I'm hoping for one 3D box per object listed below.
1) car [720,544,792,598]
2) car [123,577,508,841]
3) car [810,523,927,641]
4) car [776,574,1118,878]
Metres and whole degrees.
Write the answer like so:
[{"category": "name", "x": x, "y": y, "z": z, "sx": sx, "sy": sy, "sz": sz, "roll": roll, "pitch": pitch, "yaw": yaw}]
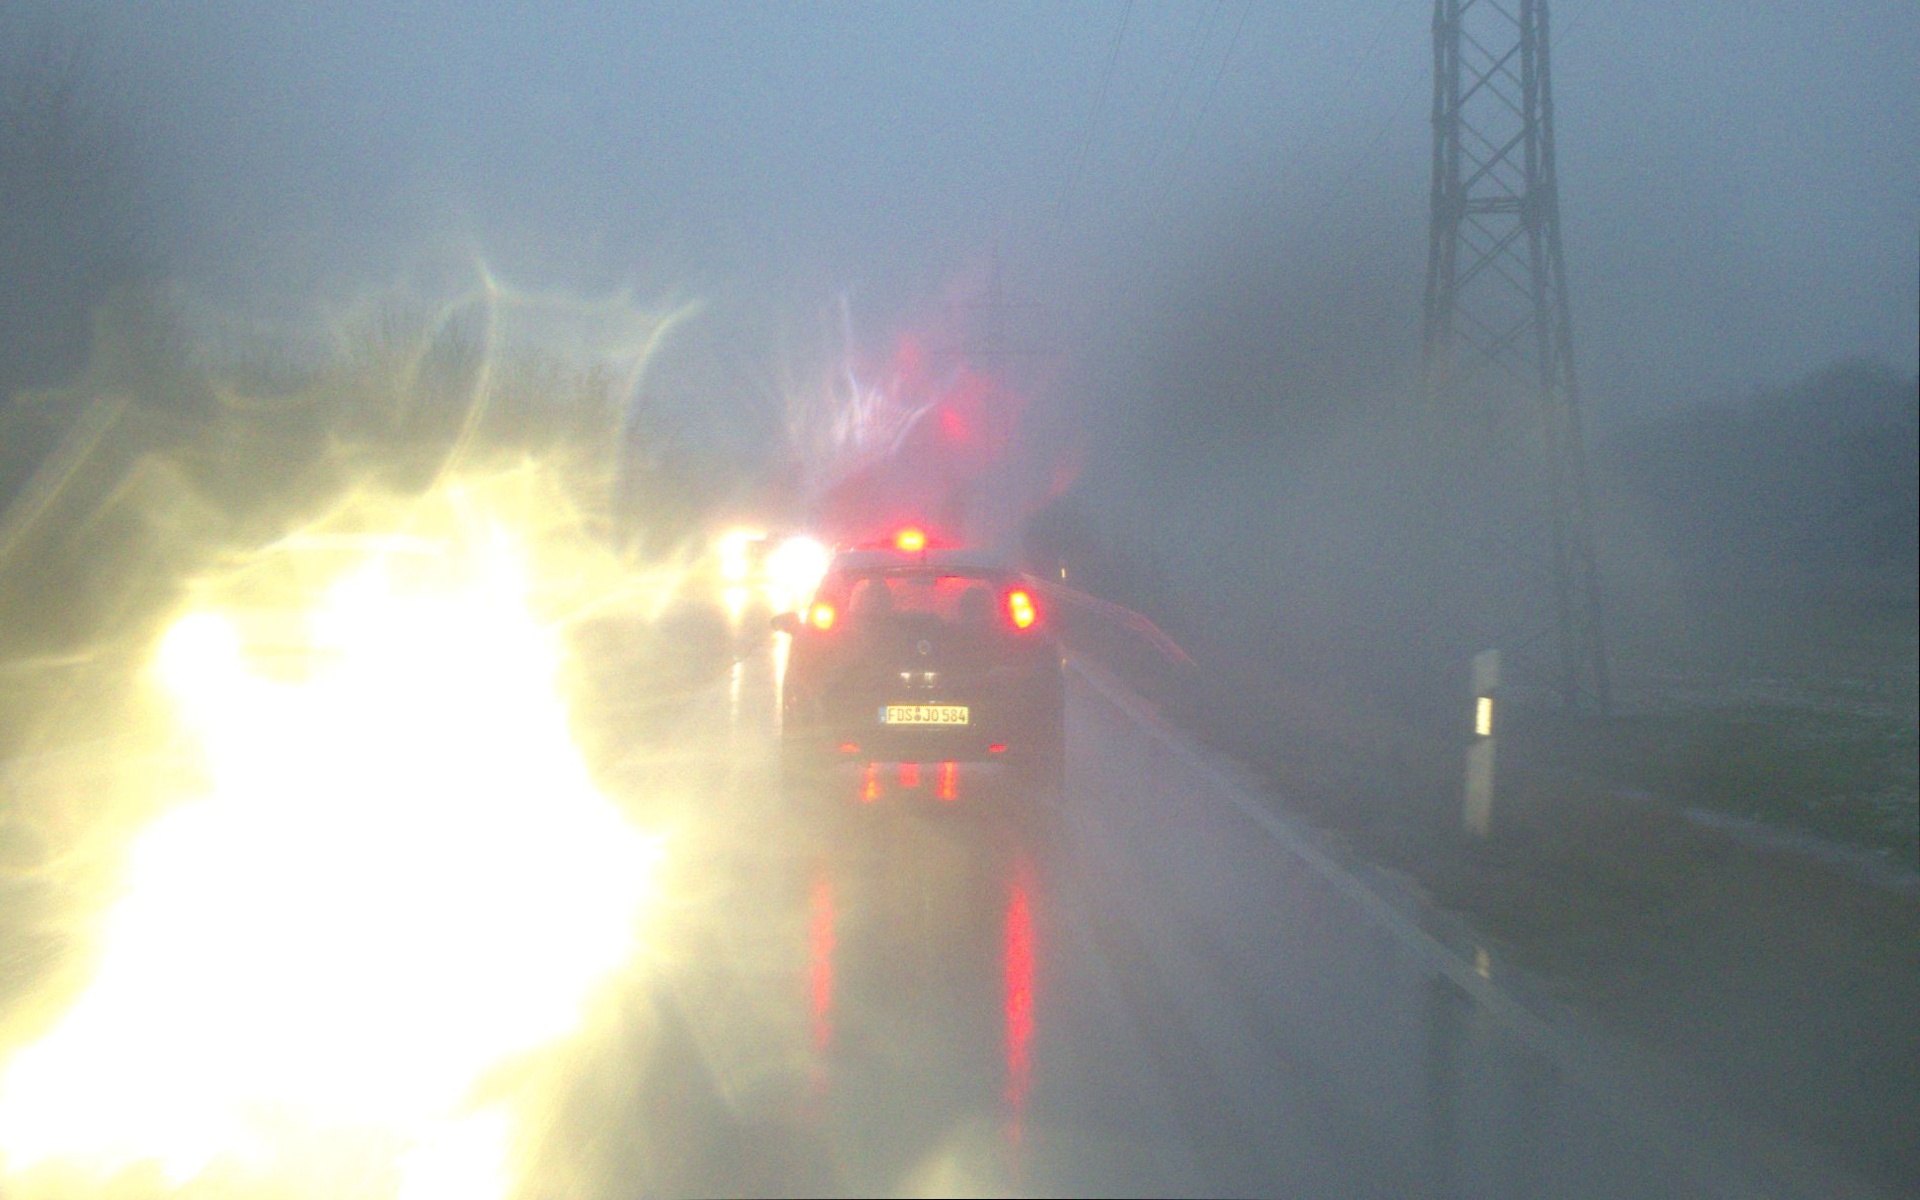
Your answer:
[{"category": "car", "x": -5.725, "y": -0.803, "z": 96.907, "sx": 1.828, "sy": 1.404, "sz": 4.000, "roll": 1, "pitch": -1, "yaw": -1}, {"category": "car", "x": -4.294, "y": 0.665, "z": 23.574, "sx": 1.807, "sy": 1.531, "sz": 4.408, "roll": 2, "pitch": 1, "yaw": -1}, {"category": "car", "x": -1.590, "y": -0.341, "z": 61.269, "sx": 1.993, "sy": 2.007, "sz": 4.000, "roll": -1, "pitch": 1, "yaw": -1}, {"category": "car", "x": -0.105, "y": 0.720, "z": 22.026, "sx": 1.993, "sy": 1.746, "sz": 4.000, "roll": 0, "pitch": 1, "yaw": -1}]
